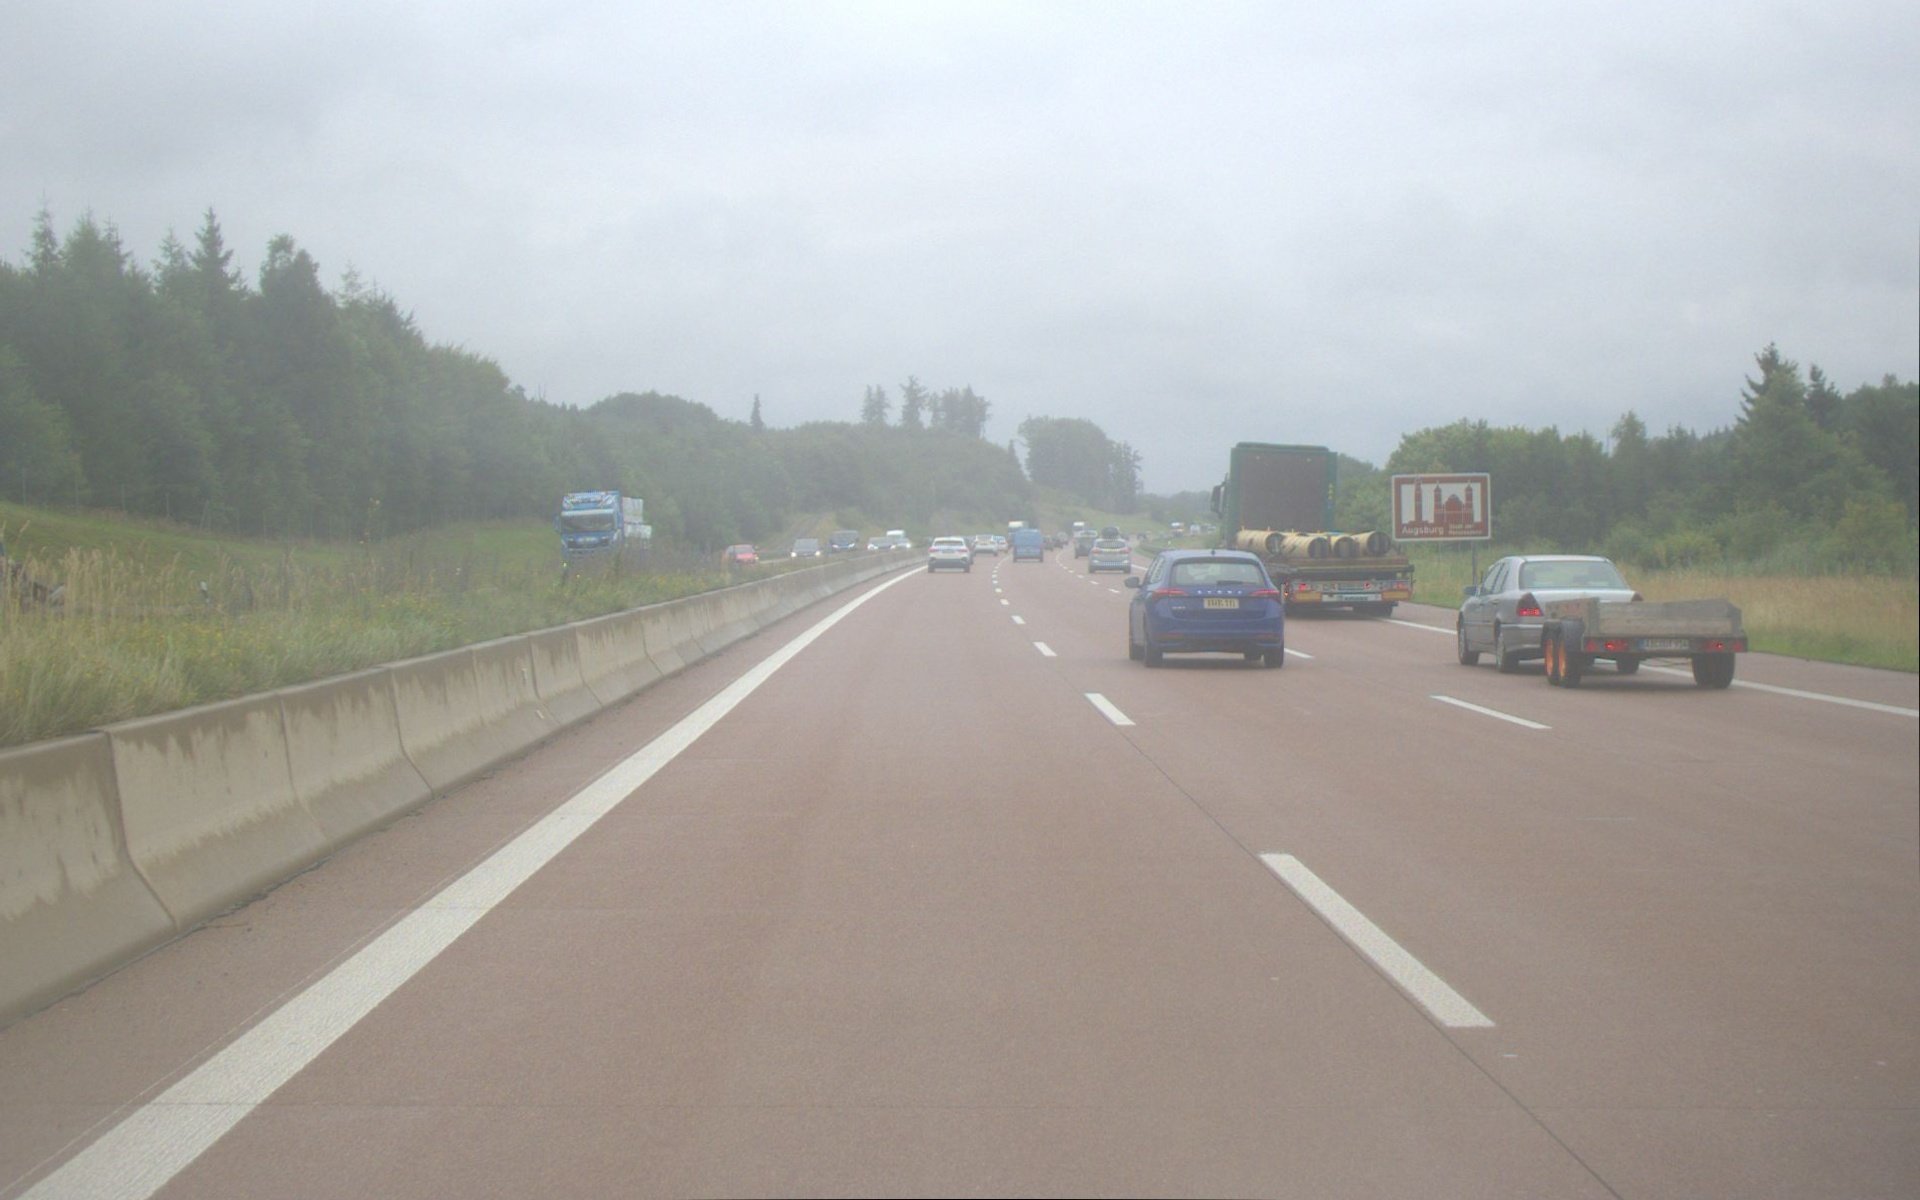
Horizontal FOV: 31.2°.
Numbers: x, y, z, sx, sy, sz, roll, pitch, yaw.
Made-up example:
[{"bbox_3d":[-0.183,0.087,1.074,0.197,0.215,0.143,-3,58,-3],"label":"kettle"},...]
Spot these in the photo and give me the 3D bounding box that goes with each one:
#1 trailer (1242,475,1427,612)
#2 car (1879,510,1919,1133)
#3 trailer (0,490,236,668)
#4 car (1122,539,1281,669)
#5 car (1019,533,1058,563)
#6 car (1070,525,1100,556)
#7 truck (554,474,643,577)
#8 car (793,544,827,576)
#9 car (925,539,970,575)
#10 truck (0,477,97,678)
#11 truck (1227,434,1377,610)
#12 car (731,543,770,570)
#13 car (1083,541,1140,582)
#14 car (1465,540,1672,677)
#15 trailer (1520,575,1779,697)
[{"bbox_3d":[7.880,-1.120,73.732,2.881,2.666,11.398,1,0,1],"label":"trailer"},{"bbox_3d":[3.499,0.580,6.224,1.993,1.587,5.820,1,0,-1],"label":"car"},{"bbox_3d":[-16.586,-0.368,65.151,2.838,2.987,14.436,1,0,-1],"label":"trailer"},{"bbox_3d":[3.031,0.048,43.797,1.771,1.558,4.146,1,0,1],"label":"car"},{"bbox_3d":[4.767,-3.187,210.369,2.322,1.744,4.877,1,0,1],"label":"car"},{"bbox_3d":[8.653,-4.115,238.142,1.993,2.007,4.000,1,0,1],"label":"car"},{"bbox_3d":[-16.139,-3.401,153.817,2.964,4.305,7.650,-4,2,0],"label":"truck"},{"bbox_3d":[-8.973,-2.374,205.643,1.818,1.835,6.238,1,0,-1],"label":"car"},{"bbox_3d":[-0.518,-1.925,151.674,1.874,1.439,4.877,1,2,1],"label":"car"},{"bbox_3d":[-16.533,-0.375,56.937,2.863,3.161,6.495,1,0,-1],"label":"truck"},{"bbox_3d":[8.019,-1.773,81.399,2.897,3.951,6.988,1,0,1],"label":"truck"},{"bbox_3d":[-11.241,-2.313,184.340,1.818,1.365,5.115,1,0,-1],"label":"car"},{"bbox_3d":[6.657,-1.689,151.594,2.322,1.744,4.877,1,0,1],"label":"car"},{"bbox_3d":[7.504,0.086,42.799,1.698,1.606,4.977,0,0,0],"label":"car"},{"bbox_3d":[7.551,0.360,38.079,1.971,1.162,4.639,1,1,1],"label":"trailer"}]
